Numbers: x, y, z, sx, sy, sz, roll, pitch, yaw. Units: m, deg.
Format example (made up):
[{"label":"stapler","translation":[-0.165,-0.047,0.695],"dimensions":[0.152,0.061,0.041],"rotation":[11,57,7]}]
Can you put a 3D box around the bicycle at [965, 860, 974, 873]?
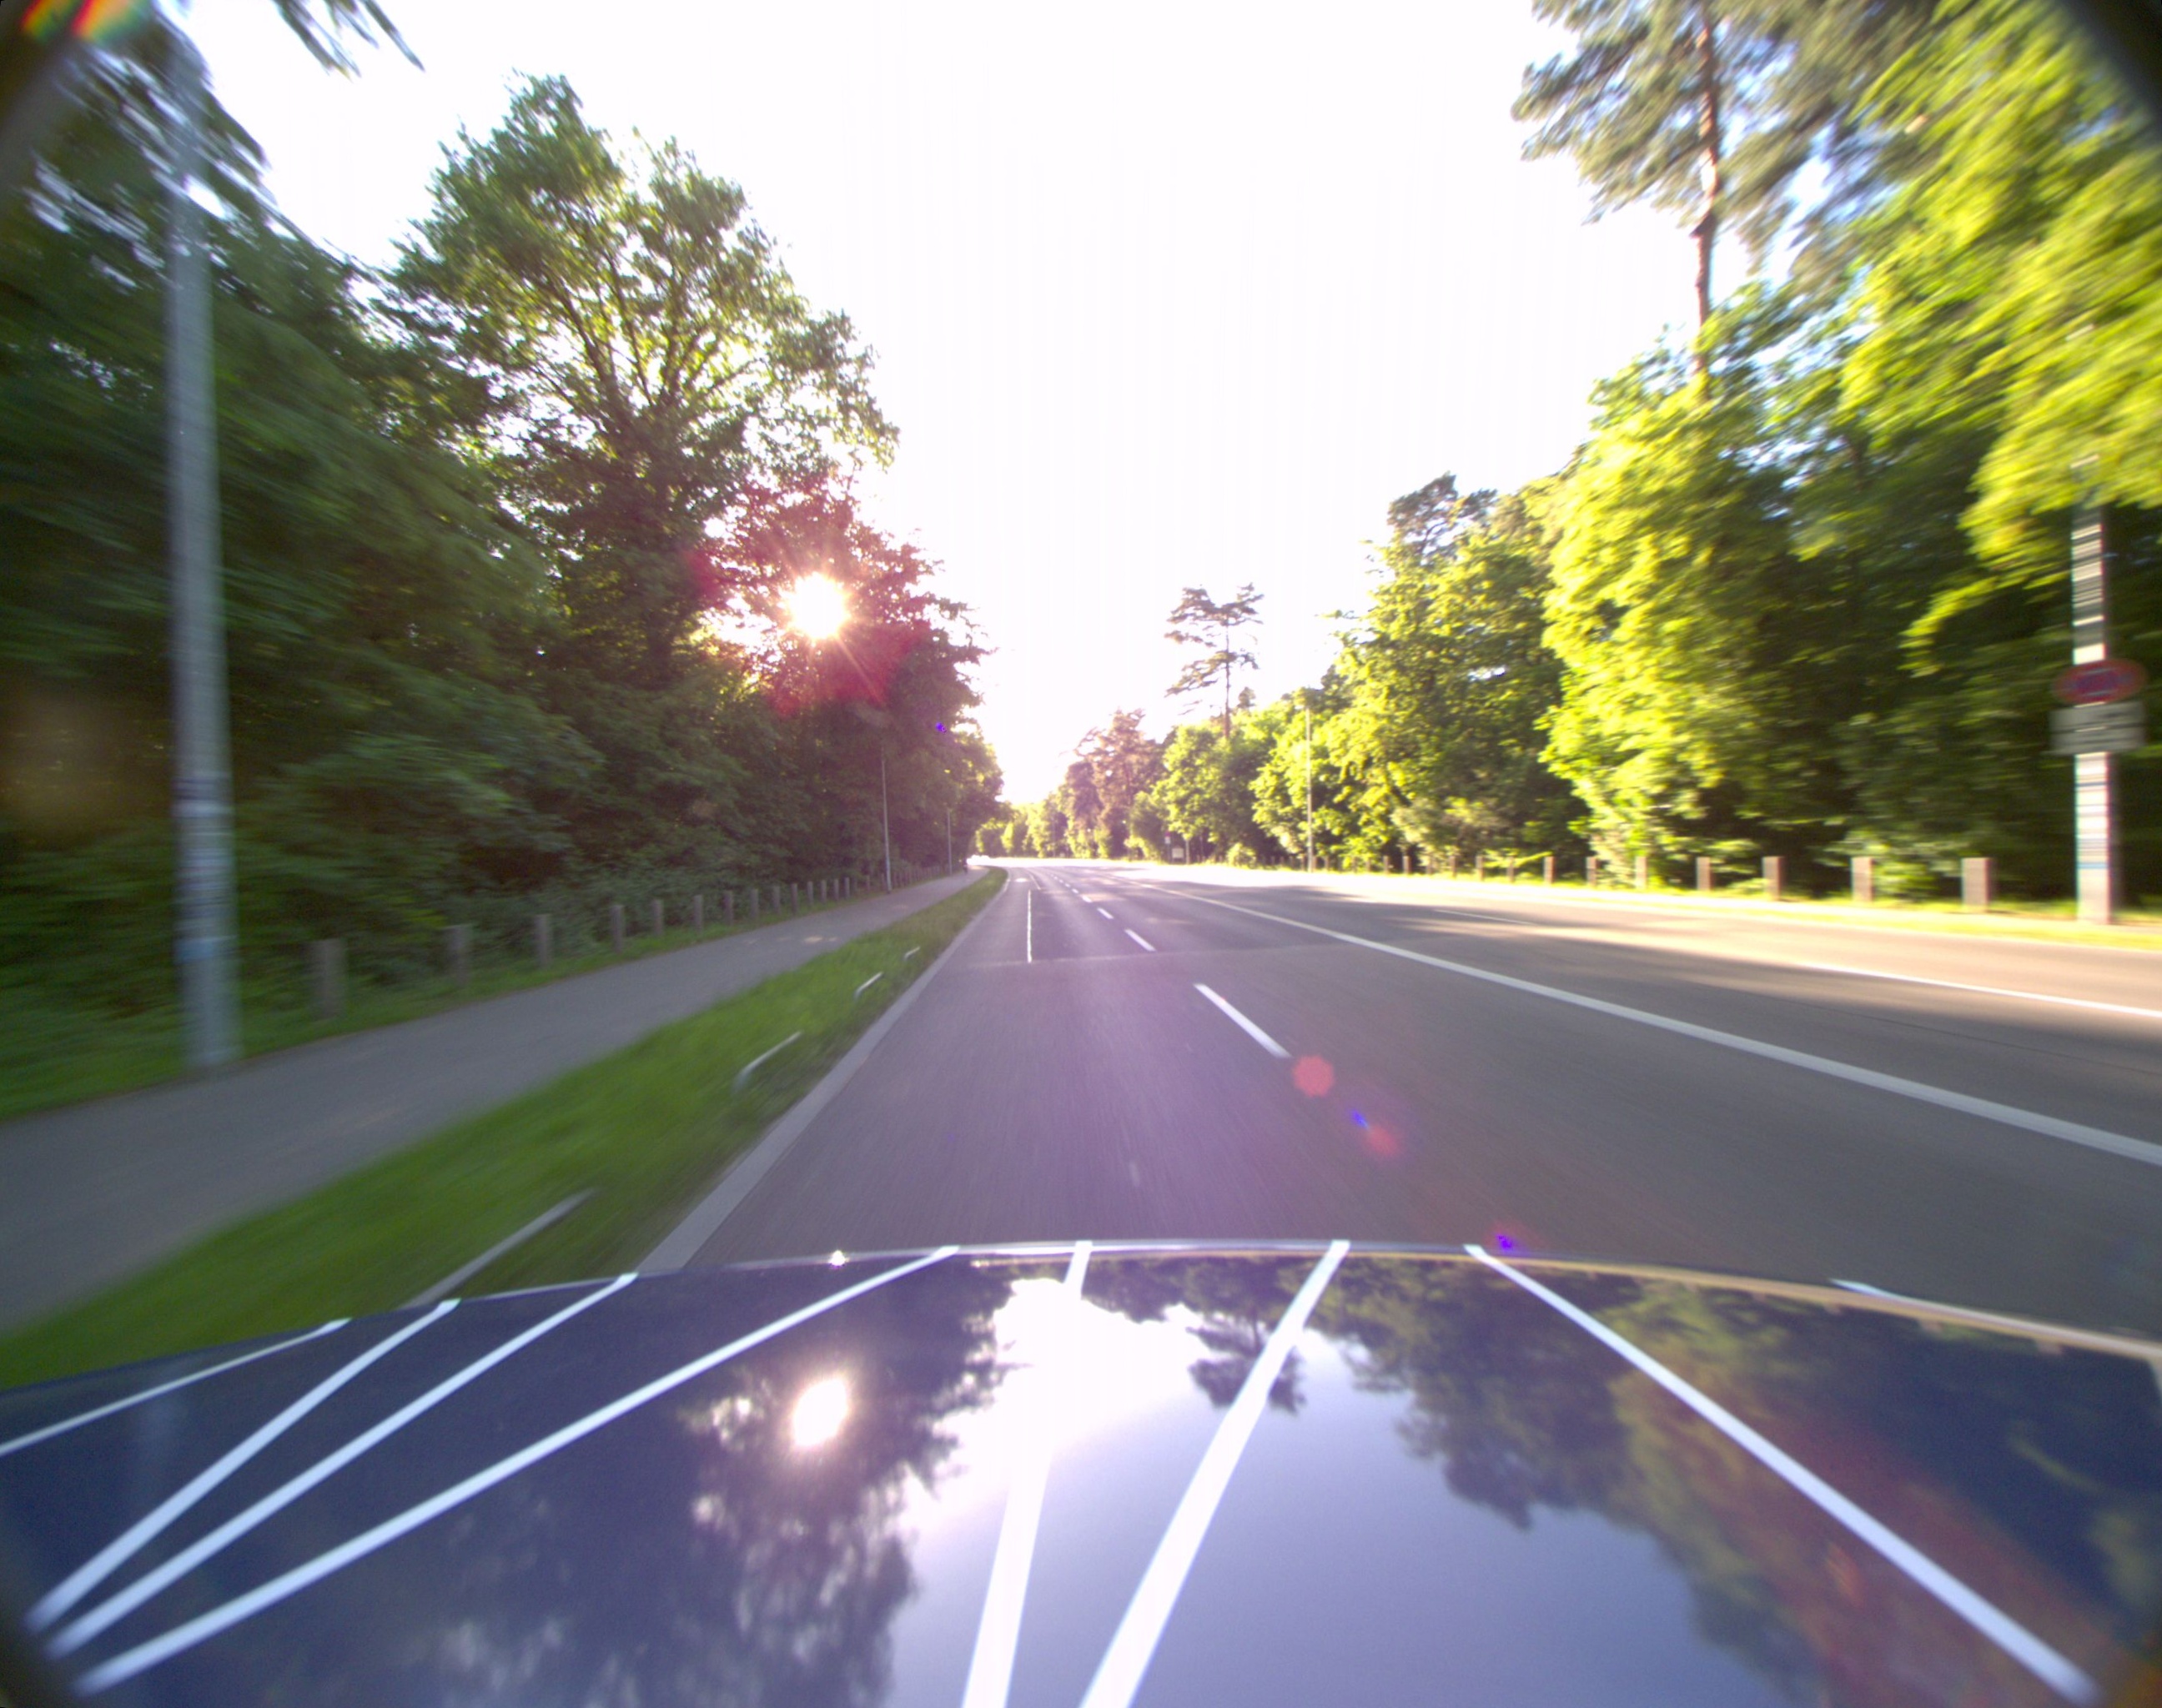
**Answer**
[{"label":"bicycle","translation":[-10.190,1.128,69.482],"dimensions":[0.608,1.051,2.873],"rotation":[-2,0,-5]}]

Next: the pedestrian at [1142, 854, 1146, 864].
[{"label":"pedestrian","translation":[8.222,0.636,98.934],"dimensions":[0.472,1.307,0.512],"rotation":[-2,0,-5]}]

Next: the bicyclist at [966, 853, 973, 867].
[{"label":"bicyclist","translation":[-10.116,0.539,69.057],"dimensions":[0.514,1.260,0.497],"rotation":[-2,0,-5]}]
